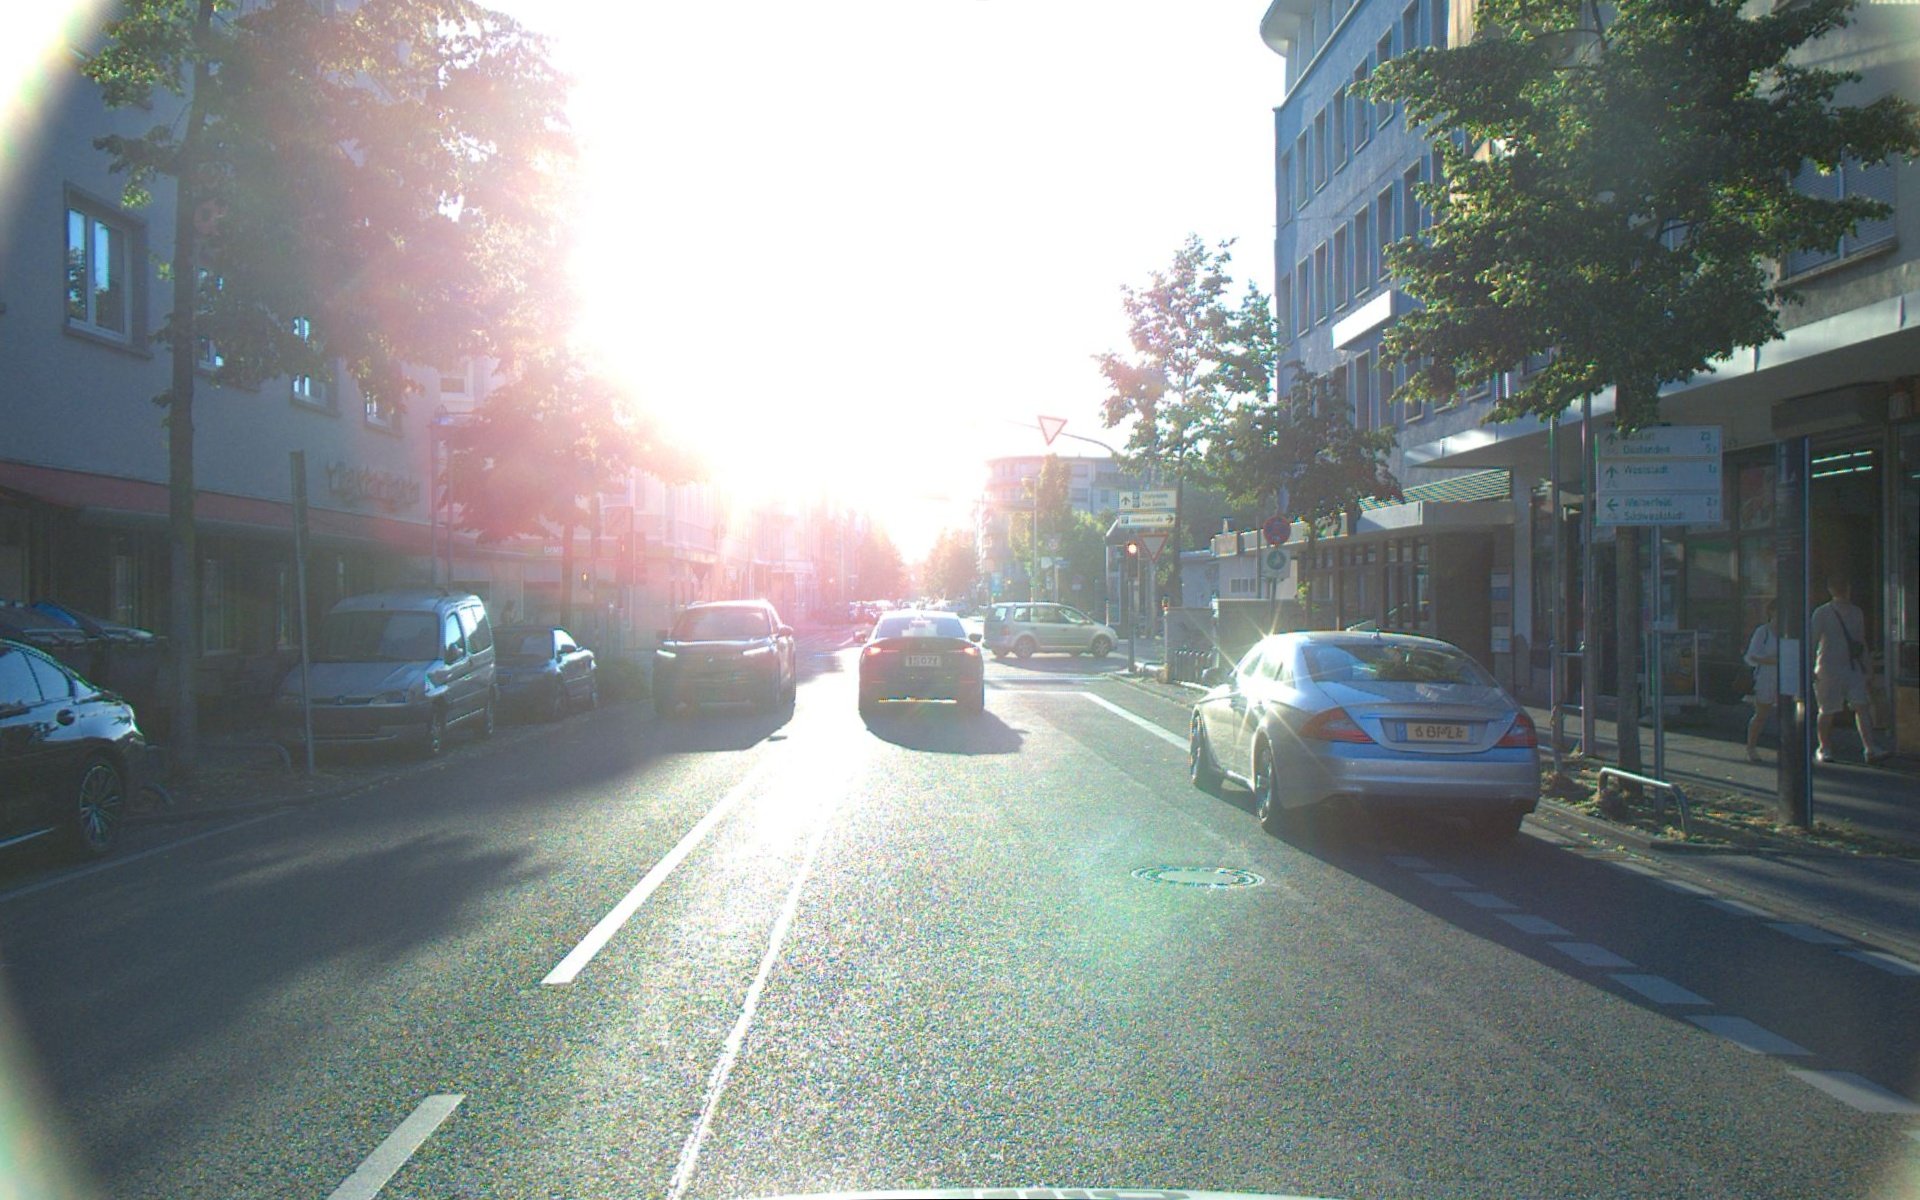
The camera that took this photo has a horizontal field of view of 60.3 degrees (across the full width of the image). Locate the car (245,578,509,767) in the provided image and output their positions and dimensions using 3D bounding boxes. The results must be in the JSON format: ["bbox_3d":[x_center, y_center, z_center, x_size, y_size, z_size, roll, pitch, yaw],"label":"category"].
[{"bbox_3d":[-6.410,0.734,18.674,1.797,1.887,4.120,0,0,-4],"label":"car"}]

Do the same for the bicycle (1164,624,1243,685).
[{"bbox_3d":[4.874,1.094,33.150,1.507,1.165,0.381,1,1,0],"label":"bicycle"}]

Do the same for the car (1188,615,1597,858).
[{"bbox_3d":[3.076,0.893,12.819,1.883,1.440,4.547,2,0,-1],"label":"car"}]

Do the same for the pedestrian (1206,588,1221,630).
[{"bbox_3d":[10.614,0.368,69.261,0.488,1.745,0.459,0,1,-21],"label":"pedestrian"}]

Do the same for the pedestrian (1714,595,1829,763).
[{"bbox_3d":[7.909,0.748,16.139,0.674,1.586,0.862,0,0,-2],"label":"pedestrian"}]

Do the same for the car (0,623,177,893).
[{"bbox_3d":[-6.200,0.922,8.942,1.790,1.464,4.552,-3,0,-1],"label":"car"}]

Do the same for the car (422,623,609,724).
[{"bbox_3d":[-6.476,1.022,24.526,1.796,1.351,4.122,0,-1,-2],"label":"car"}]

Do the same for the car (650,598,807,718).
[{"bbox_3d":[-3.470,0.817,25.564,1.883,1.630,4.324,0,1,-1],"label":"car"}]

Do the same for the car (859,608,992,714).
[{"bbox_3d":[-0.509,0.858,25.148,1.845,1.440,4.324,0,0,-1],"label":"car"}]

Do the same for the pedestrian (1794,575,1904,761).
[{"bbox_3d":[8.620,0.648,16.057,0.673,1.752,0.717,-1,0,5],"label":"pedestrian"}]

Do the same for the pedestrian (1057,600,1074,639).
[{"bbox_3d":[4.493,0.825,70.338,0.566,1.673,0.524,0,1,-23],"label":"pedestrian"}]

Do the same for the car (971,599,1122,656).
[{"bbox_3d":[2.632,0.806,50.259,4.259,1.630,1.912,0,1,-27],"label":"car"}]
